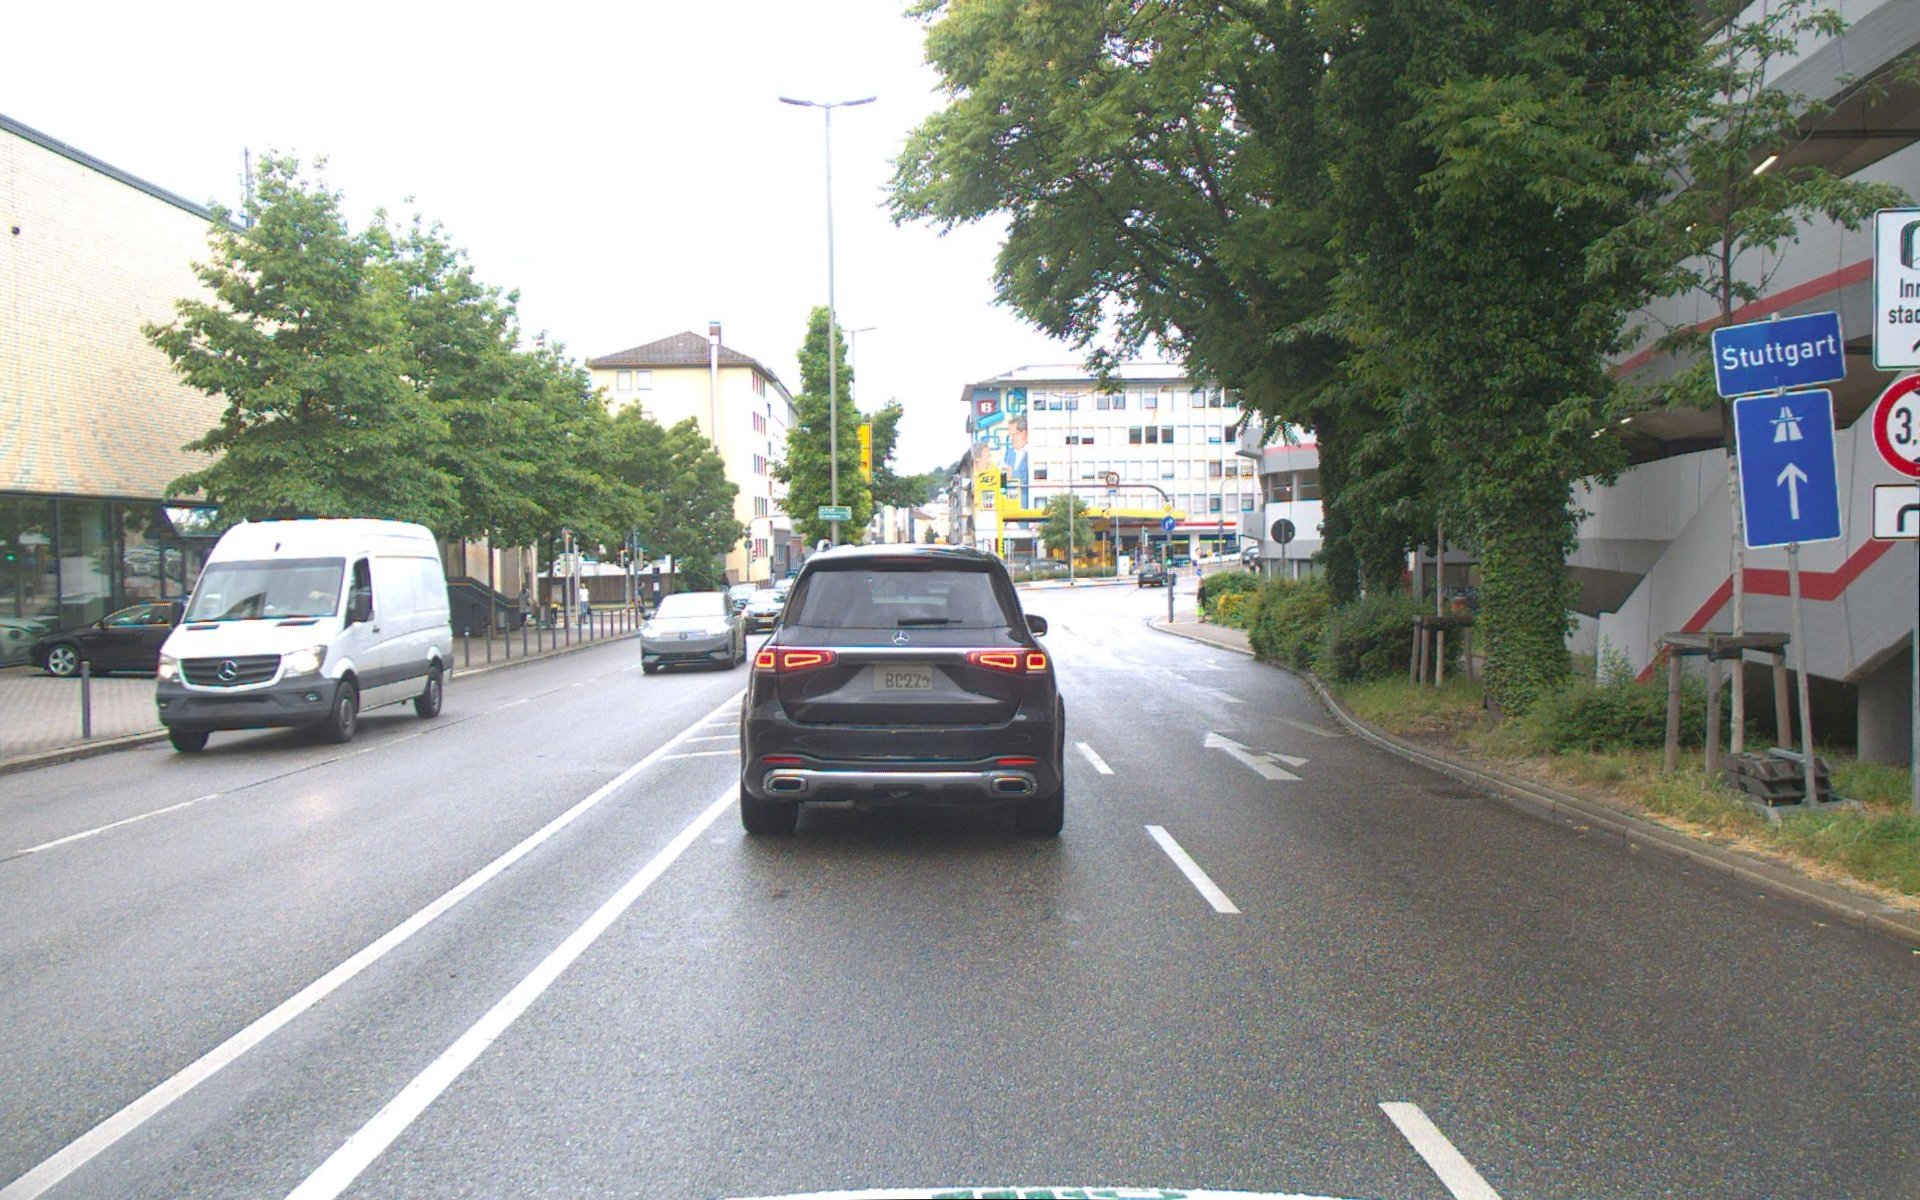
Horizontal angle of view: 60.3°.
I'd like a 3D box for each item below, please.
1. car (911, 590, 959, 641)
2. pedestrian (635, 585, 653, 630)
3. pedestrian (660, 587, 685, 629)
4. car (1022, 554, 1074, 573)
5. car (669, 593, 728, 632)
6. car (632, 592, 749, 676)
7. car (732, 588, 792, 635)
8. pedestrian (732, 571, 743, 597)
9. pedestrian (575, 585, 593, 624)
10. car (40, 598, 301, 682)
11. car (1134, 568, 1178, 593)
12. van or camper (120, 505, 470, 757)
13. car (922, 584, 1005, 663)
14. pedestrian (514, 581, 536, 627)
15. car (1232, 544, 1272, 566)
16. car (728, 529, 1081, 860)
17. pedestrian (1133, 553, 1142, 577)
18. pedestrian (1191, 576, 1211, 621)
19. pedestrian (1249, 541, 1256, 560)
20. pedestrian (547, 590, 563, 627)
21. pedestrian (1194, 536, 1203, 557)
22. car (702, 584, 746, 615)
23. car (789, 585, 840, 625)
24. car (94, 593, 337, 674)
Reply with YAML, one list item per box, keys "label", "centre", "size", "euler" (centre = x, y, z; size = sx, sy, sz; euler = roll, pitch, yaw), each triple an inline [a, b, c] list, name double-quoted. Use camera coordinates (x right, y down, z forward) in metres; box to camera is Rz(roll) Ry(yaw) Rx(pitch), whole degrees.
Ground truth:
- label: "car"
  centre: [-1.061, 0.646, 69.570]
  size: [1.953, 2.049, 3.999]
  euler: [1, 0, -1]
- label: "pedestrian"
  centre: [-12.888, 0.291, 67.463]
  size: [0.675, 1.788, 0.716]
  euler: [-1, 1, -12]
- label: "pedestrian"
  centre: [-11.927, 0.337, 68.642]
  size: [0.931, 1.734, 0.709]
  euler: [1, -1, -18]
- label: "car"
  centre: [6.834, -2.853, 128.656]
  size: [1.724, 1.400, 3.935]
  euler: [-3, 1, -44]
- label: "car"
  centre: [-10.360, 0.475, 65.840]
  size: [1.793, 1.412, 4.227]
  euler: [-3, 0, -3]
- label: "car"
  centre: [-5.462, 0.647, 34.087]
  size: [1.846, 1.524, 4.559]
  euler: [-2, 0, -3]
- label: "car"
  centre: [-6.926, 0.403, 58.156]
  size: [1.776, 1.487, 4.285]
  euler: [-3, 0, -3]
- label: "pedestrian"
  centre: [-15.245, -1.098, 113.385]
  size: [0.635, 1.757, 0.628]
  euler: [-2, 1, -5]
- label: "pedestrian"
  centre: [-16.447, 0.210, 72.402]
  size: [0.676, 1.685, 0.612]
  euler: [-2, 1, -8]
- label: "car"
  centre: [-15.164, 0.760, 31.978]
  size: [4.097, 1.521, 1.997]
  euler: [1, 0, -8]
- label: "car"
  centre: [12.493, -1.245, 105.259]
  size: [1.760, 1.552, 4.055]
  euler: [1, 1, 22]
- label: "van or camper"
  centre: [-8.043, 0.314, 20.795]
  size: [2.059, 2.627, 5.906]
  euler: [-2, 0, -2]
- label: "car"
  centre: [0.054, 0.571, 41.217]
  size: [1.953, 1.832, 3.999]
  euler: [1, 0, -1]
- label: "pedestrian"
  centre: [-16.484, 0.158, 62.734]
  size: [0.630, 1.695, 1.017]
  euler: [1, -1, -7]
- label: "car"
  centre: [24.529, -3.770, 138.862]
  size: [1.958, 1.735, 3.990]
  euler: [-1, 1, 33]
- label: "car"
  centre: [-0.335, 0.540, 11.285]
  size: [1.953, 1.832, 3.999]
  euler: [1, 0, -1]
- label: "pedestrian"
  centre: [12.960, -2.575, 120.497]
  size: [0.560, 1.727, 0.631]
  euler: [1, -1, 0]
- label: "pedestrian"
  centre: [9.529, -0.055, 65.440]
  size: [0.634, 1.740, 0.470]
  euler: [0, -1, 35]
- label: "pedestrian"
  centre: [25.941, -4.362, 146.746]
  size: [0.474, 1.669, 0.438]
  euler: [1, -1, 28]
- label: "pedestrian"
  centre: [-17.674, 0.374, 72.173]
  size: [0.429, 1.560, 0.546]
  euler: [-1, 1, 13]
- label: "pedestrian"
  centre: [19.774, -4.406, 137.056]
  size: [0.515, 1.757, 0.689]
  euler: [0, 1, 26]
- label: "car"
  centre: [-11.610, -0.036, 81.634]
  size: [1.710, 1.437, 3.969]
  euler: [-3, 0, -3]
- label: "car"
  centre: [-7.124, 0.214, 81.365]
  size: [1.852, 1.843, 4.576]
  euler: [-3, 0, 2]
- label: "car"
  centre: [-15.365, 0.675, 34.279]
  size: [4.090, 1.574, 2.000]
  euler: [1, 0, 0]
